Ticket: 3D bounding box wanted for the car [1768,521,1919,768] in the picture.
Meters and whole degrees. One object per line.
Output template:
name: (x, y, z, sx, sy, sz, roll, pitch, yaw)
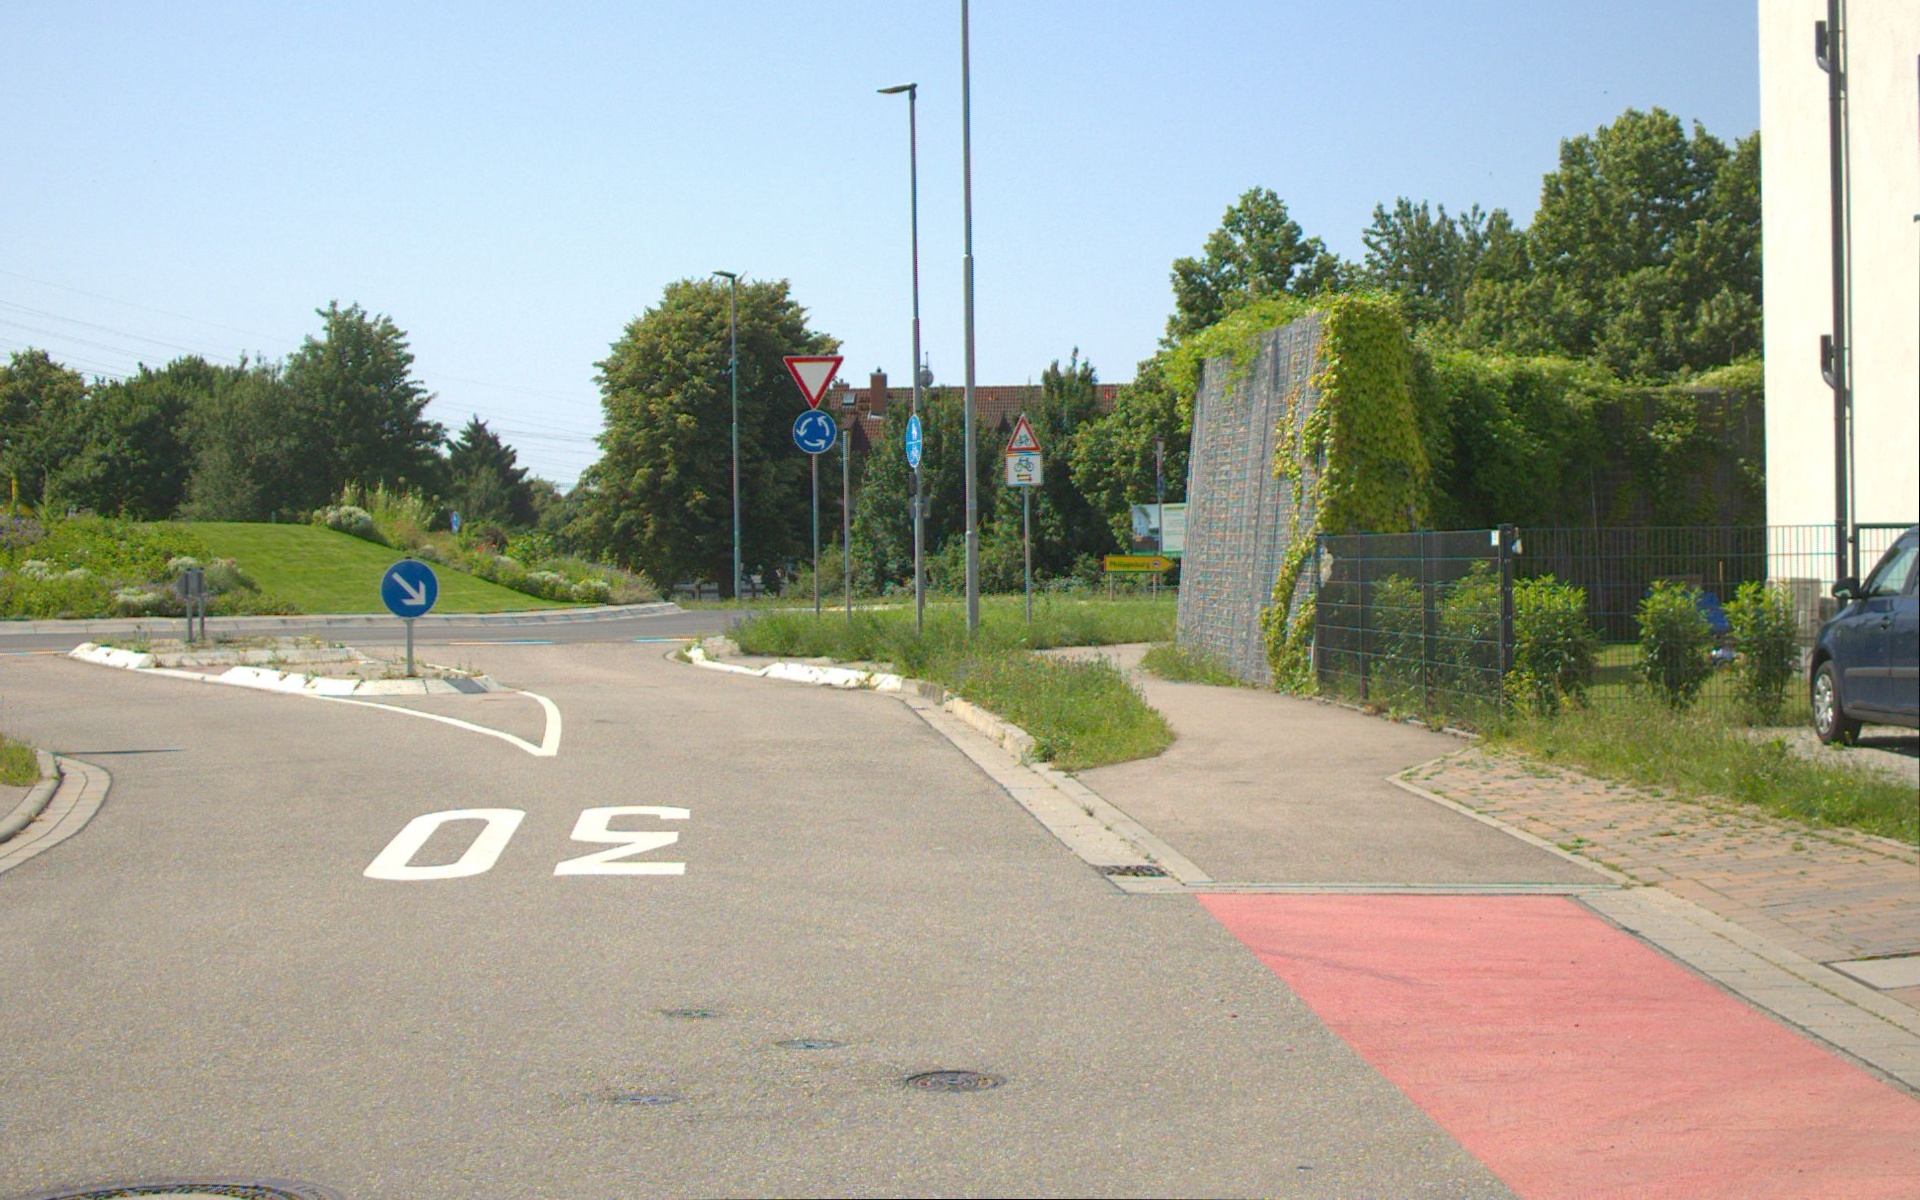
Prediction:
car: (6.497, 0.245, 21.524, 1.677, 1.464, 4.117, 0, 1, -3)
